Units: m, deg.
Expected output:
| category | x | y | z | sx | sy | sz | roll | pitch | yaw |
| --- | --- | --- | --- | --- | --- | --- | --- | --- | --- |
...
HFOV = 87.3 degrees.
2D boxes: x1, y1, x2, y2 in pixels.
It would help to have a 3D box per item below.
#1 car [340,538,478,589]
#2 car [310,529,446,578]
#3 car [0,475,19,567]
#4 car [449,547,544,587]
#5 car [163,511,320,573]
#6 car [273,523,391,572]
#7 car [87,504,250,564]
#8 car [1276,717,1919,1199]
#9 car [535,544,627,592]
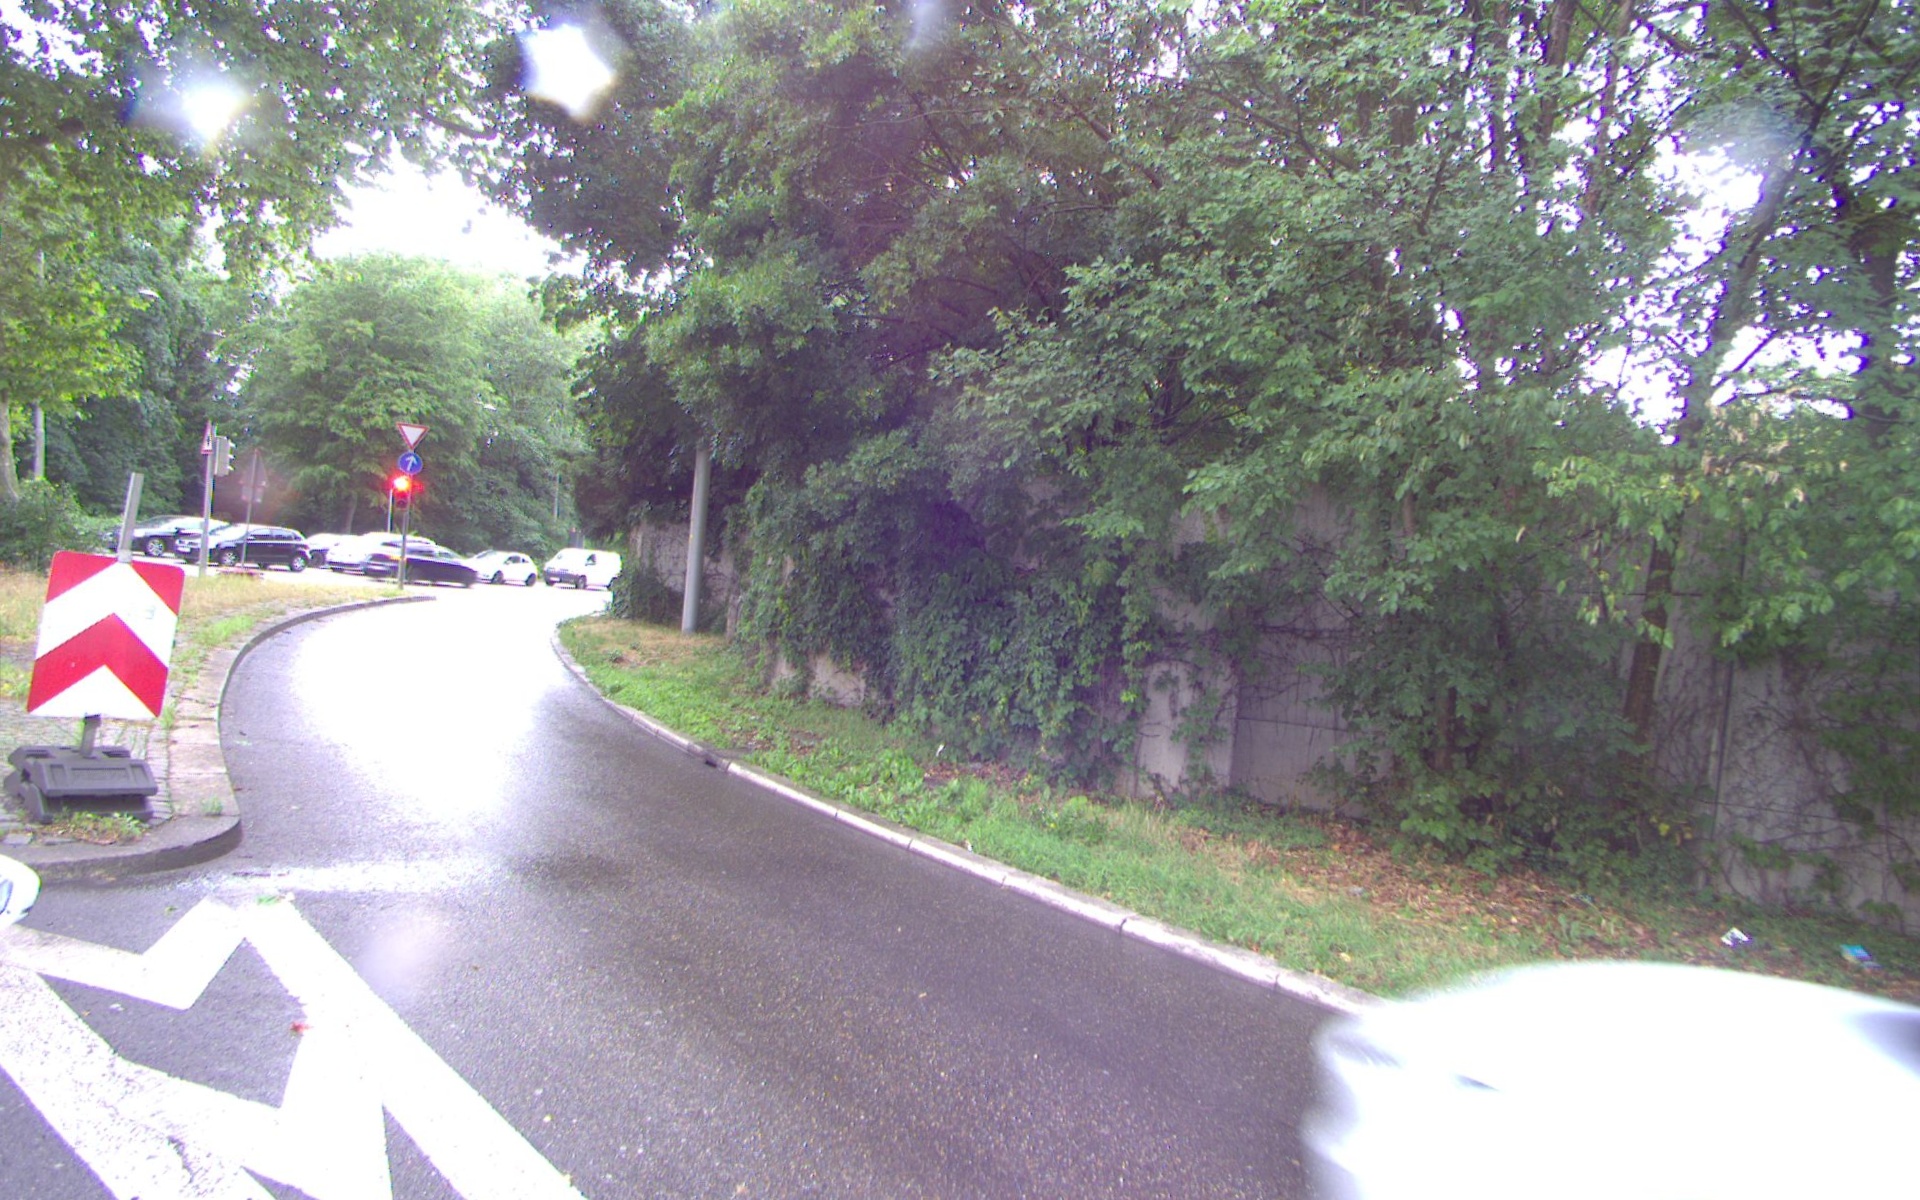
| category | x | y | z | sx | sy | sz | roll | pitch | yaw |
| --- | --- | --- | --- | --- | --- | --- | --- | --- | --- |
| car | -19.207 | -1.237 | 35.252 | 1.556 | 1.465 | 4.143 | 6 | 2 | 22 |
| car | -22.045 | -1.737 | 38.304 | 1.742 | 1.506 | 4.268 | 6 | 2 | 22 |
| car | -21.712 | -1.877 | 19.160 | 1.965 | 1.868 | 5.086 | 6 | -1 | 28 |
| car | -20.635 | -1.440 | 44.933 | 1.740 | 1.506 | 3.998 | 5 | 2 | 12 |
| car | -23.210 | -1.830 | 32.669 | 1.641 | 1.503 | 3.867 | 6 | 0 | 17 |
| car | -24.926 | -2.051 | 40.098 | 1.712 | 1.504 | 3.836 | 6 | 0 | 12 |
| car | -26.776 | -2.188 | 34.210 | 1.843 | 1.504 | 4.002 | 6 | 0 | 12 |
| car | 2.985 | 1.270 | 1.776 | 4.212 | 1.449 | 1.835 | 6 | -3 | 40 |
| car | -19.075 | -1.570 | 50.883 | 1.872 | 1.946 | 4.862 | 6 | 0 | 12 |
